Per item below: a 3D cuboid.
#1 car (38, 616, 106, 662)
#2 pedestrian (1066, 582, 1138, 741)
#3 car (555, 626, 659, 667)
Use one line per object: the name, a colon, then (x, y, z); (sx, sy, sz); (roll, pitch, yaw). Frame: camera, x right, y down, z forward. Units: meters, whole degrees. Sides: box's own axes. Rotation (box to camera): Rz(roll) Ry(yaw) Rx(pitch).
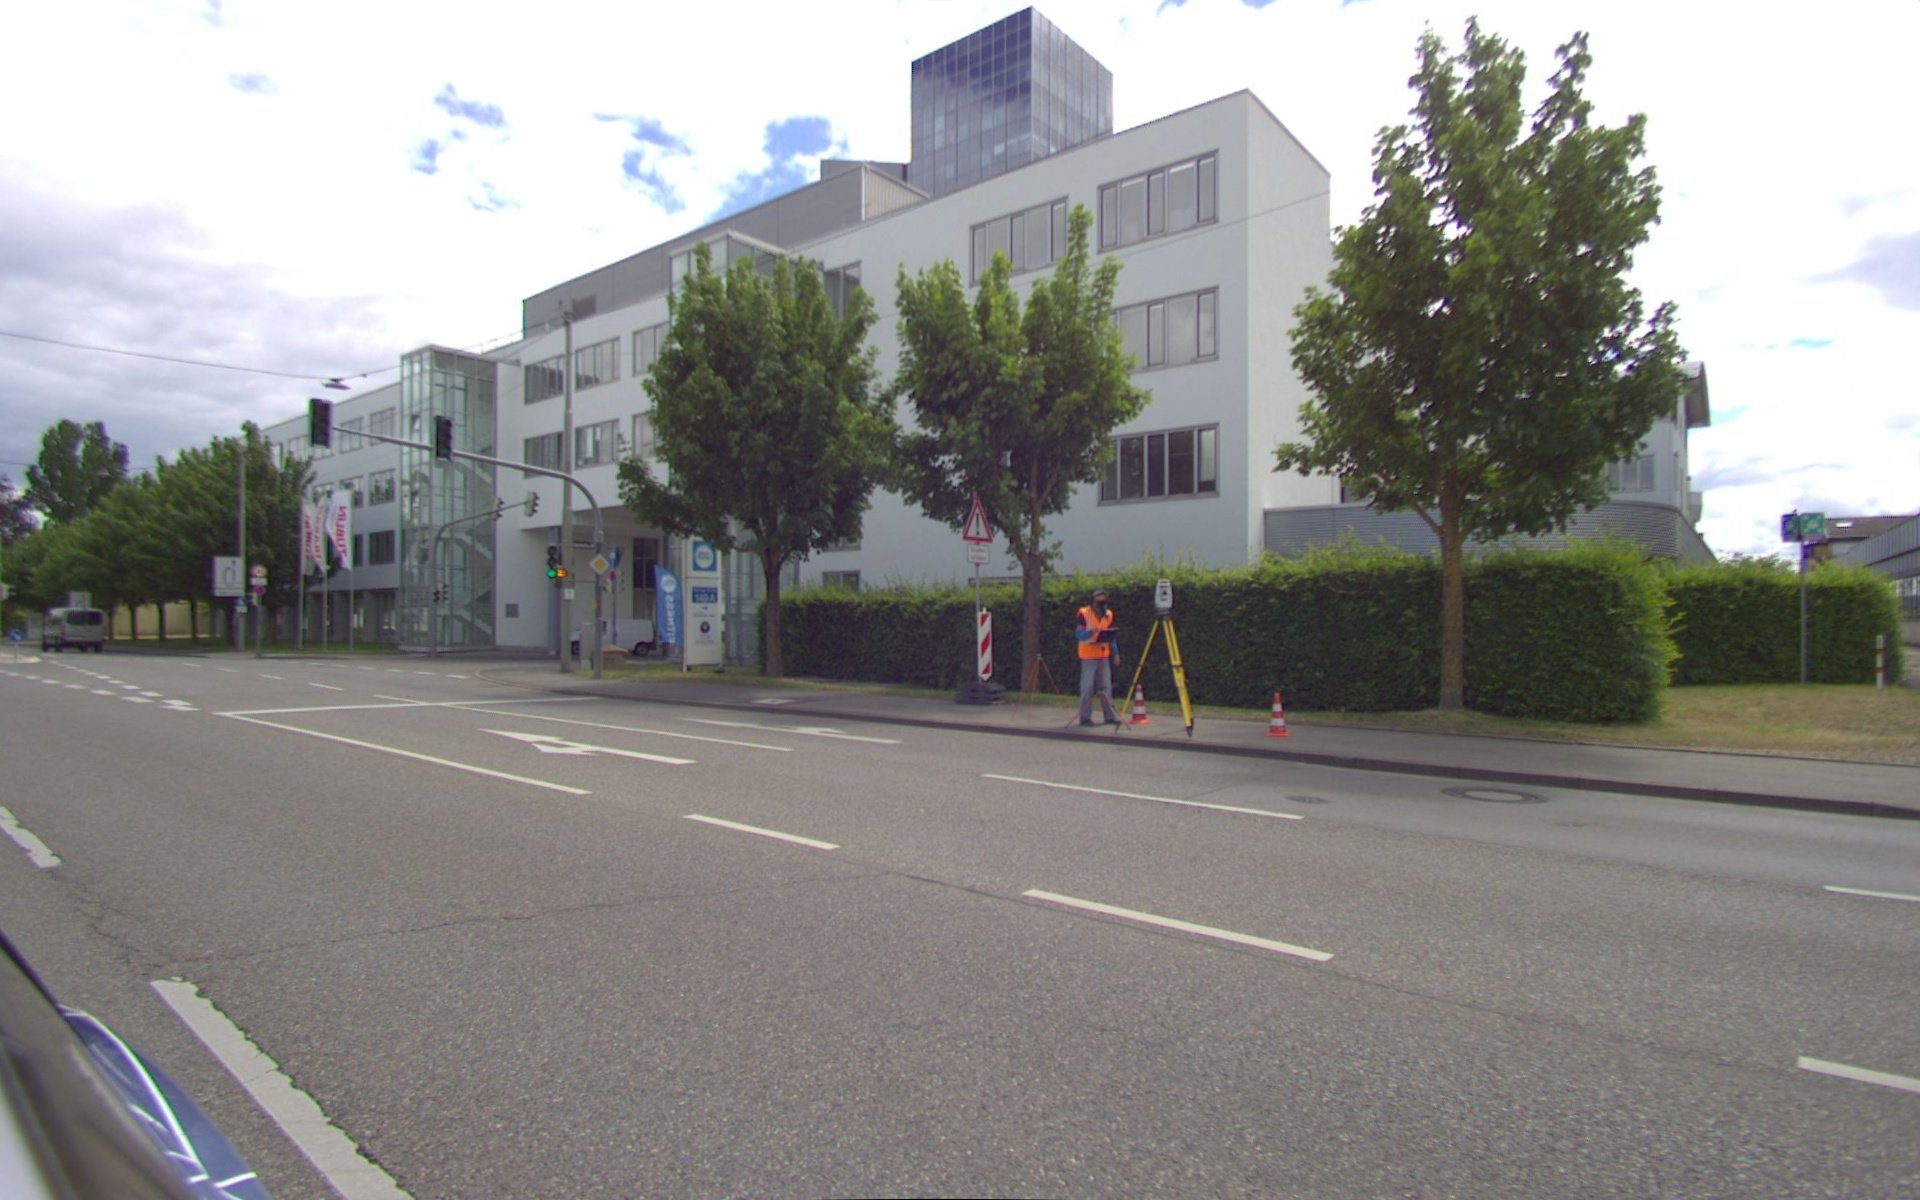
car: (-50.600, 2.187, 57.627); (6.071, 2.491, 2.120); (-1, -3, 42)
pedestrian: (1.875, 0.784, 13.455); (0.715, 2.029, 0.812); (-1, 1, -7)
car: (-18.214, 2.401, 52.280); (4.751, 1.882, 2.091); (3, -1, -26)
